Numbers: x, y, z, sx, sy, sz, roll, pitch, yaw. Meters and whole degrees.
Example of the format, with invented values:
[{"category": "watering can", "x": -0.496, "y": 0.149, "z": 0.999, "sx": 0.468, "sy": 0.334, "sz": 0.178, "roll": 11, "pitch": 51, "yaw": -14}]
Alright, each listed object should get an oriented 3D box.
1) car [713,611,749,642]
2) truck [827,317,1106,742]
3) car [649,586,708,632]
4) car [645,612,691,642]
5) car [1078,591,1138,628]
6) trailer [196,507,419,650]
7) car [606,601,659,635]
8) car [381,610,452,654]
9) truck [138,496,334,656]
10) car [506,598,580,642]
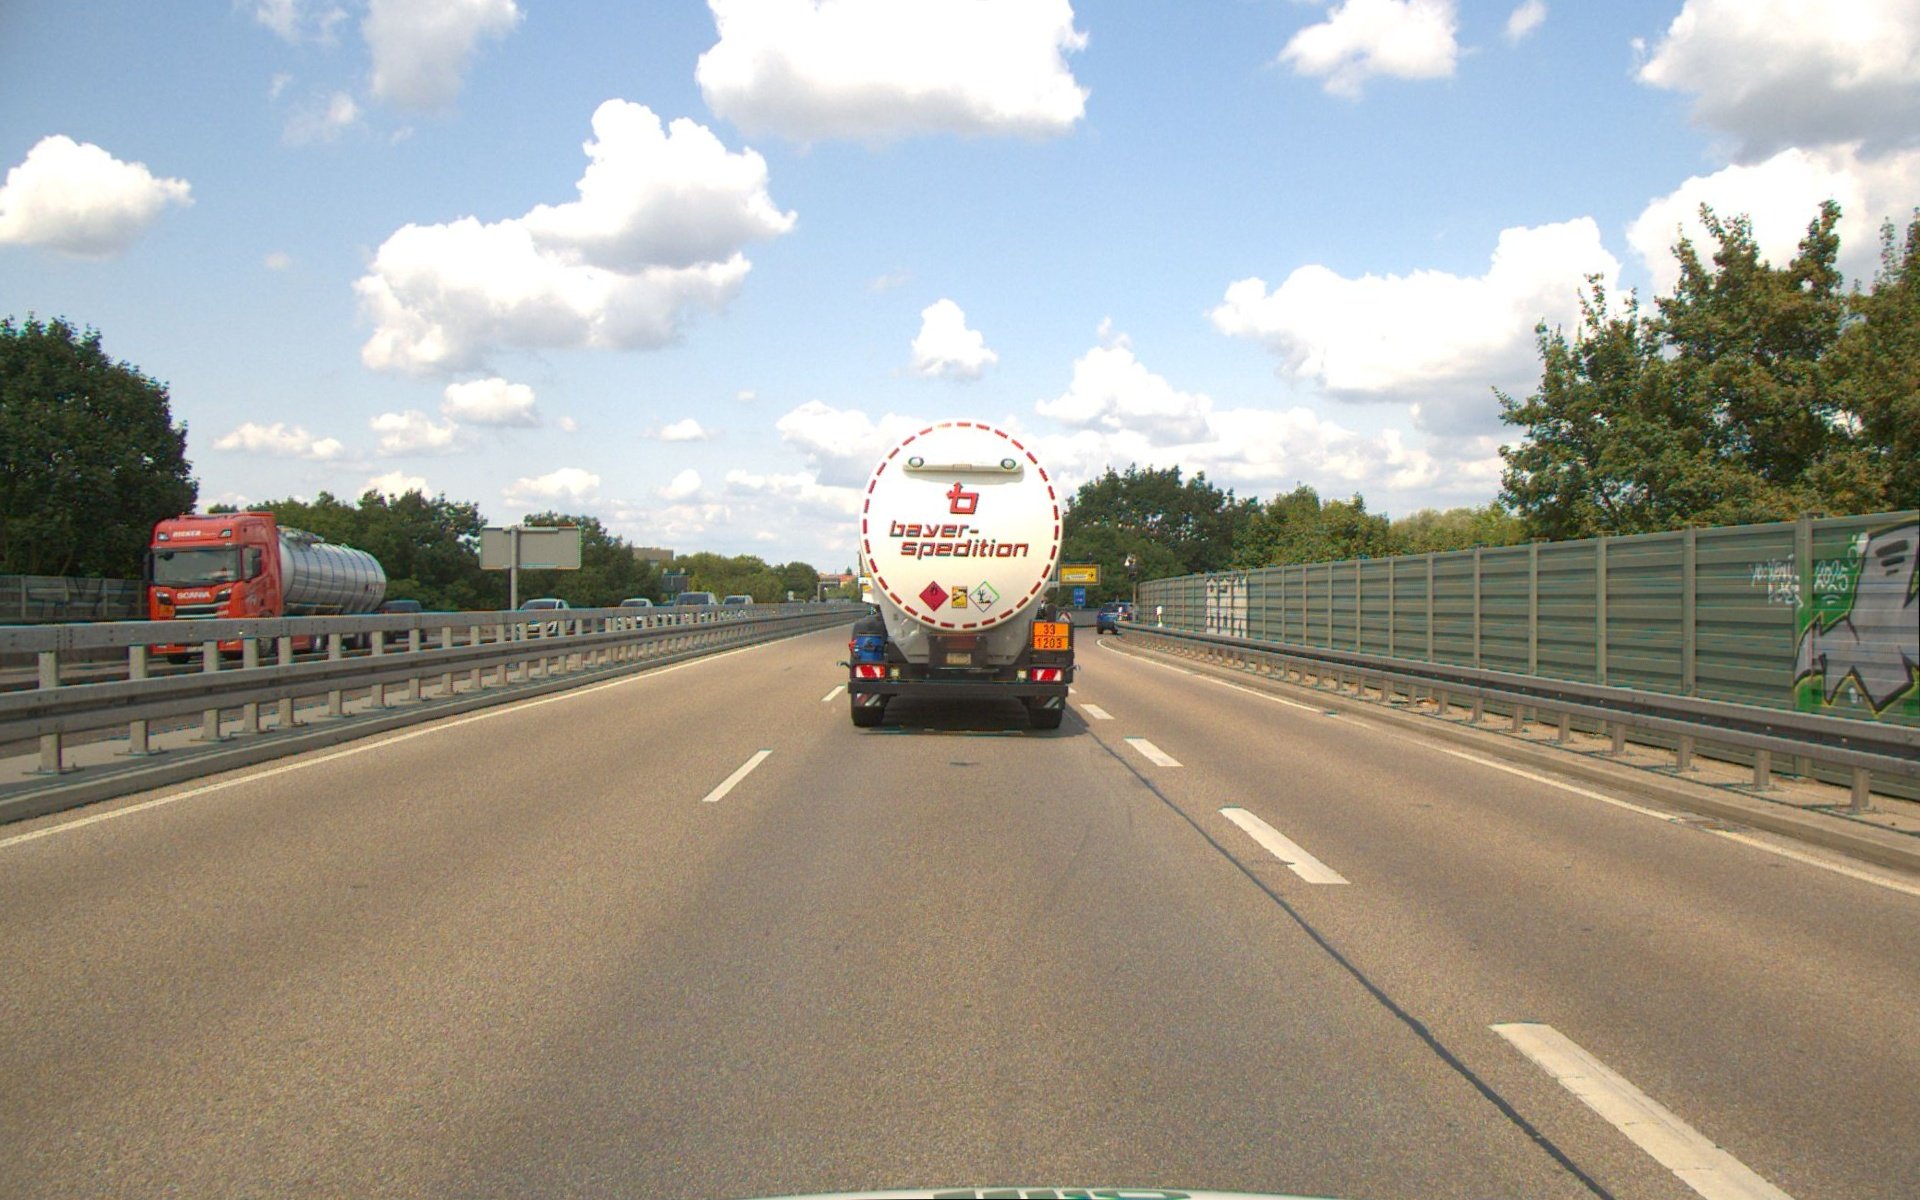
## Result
[{"category": "car", "x": -15.940, "y": 1.839, "z": 115.245, "sx": 1.921, "sy": 1.958, "sz": 5.189, "roll": 3, "pitch": 0, "yaw": -3}, {"category": "truck", "x": 0.001, "y": -0.722, "z": 21.690, "sx": 2.836, "sy": 4.445, "sz": 8.027, "roll": 2, "pitch": -1, "yaw": -1}, {"category": "car", "x": -11.776, "y": 0.374, "z": 69.410, "sx": 1.954, "sy": 1.780, "sz": 4.592, "roll": 2, "pitch": -1, "yaw": -4}, {"category": "car", "x": -16.103, "y": 1.470, "z": 91.418, "sx": 1.885, "sy": 1.601, "sz": 4.243, "roll": 0, "pitch": 0, "yaw": -2}, {"category": "car", "x": 7.528, "y": 0.502, "z": 83.867, "sx": 1.953, "sy": 1.736, "sz": 4.000, "roll": 2, "pitch": -1, "yaw": 21}, {"category": "trailer", "x": -19.244, "y": -0.527, "z": 49.746, "sx": 2.631, "sy": 3.734, "sz": 11.023, "roll": 2, "pitch": -1, "yaw": -2}, {"category": "car", "x": -16.333, "y": 0.903, "z": 82.659, "sx": 1.885, "sy": 1.601, "sz": 3.885, "roll": 2, "pitch": -1, "yaw": -2}, {"category": "car", "x": -21.430, "y": 1.239, "z": 65.387, "sx": 1.681, "sy": 1.648, "sz": 4.277, "roll": -1, "pitch": 0, "yaw": -5}, {"category": "truck", "x": -19.039, "y": -0.563, "z": 43.932, "sx": 2.595, "sy": 3.848, "sz": 6.229, "roll": 2, "pitch": -1, "yaw": -3}, {"category": "car", "x": -15.541, "y": 0.751, "z": 61.799, "sx": 1.746, "sy": 1.535, "sz": 3.958, "roll": 2, "pitch": -1, "yaw": -1}]
